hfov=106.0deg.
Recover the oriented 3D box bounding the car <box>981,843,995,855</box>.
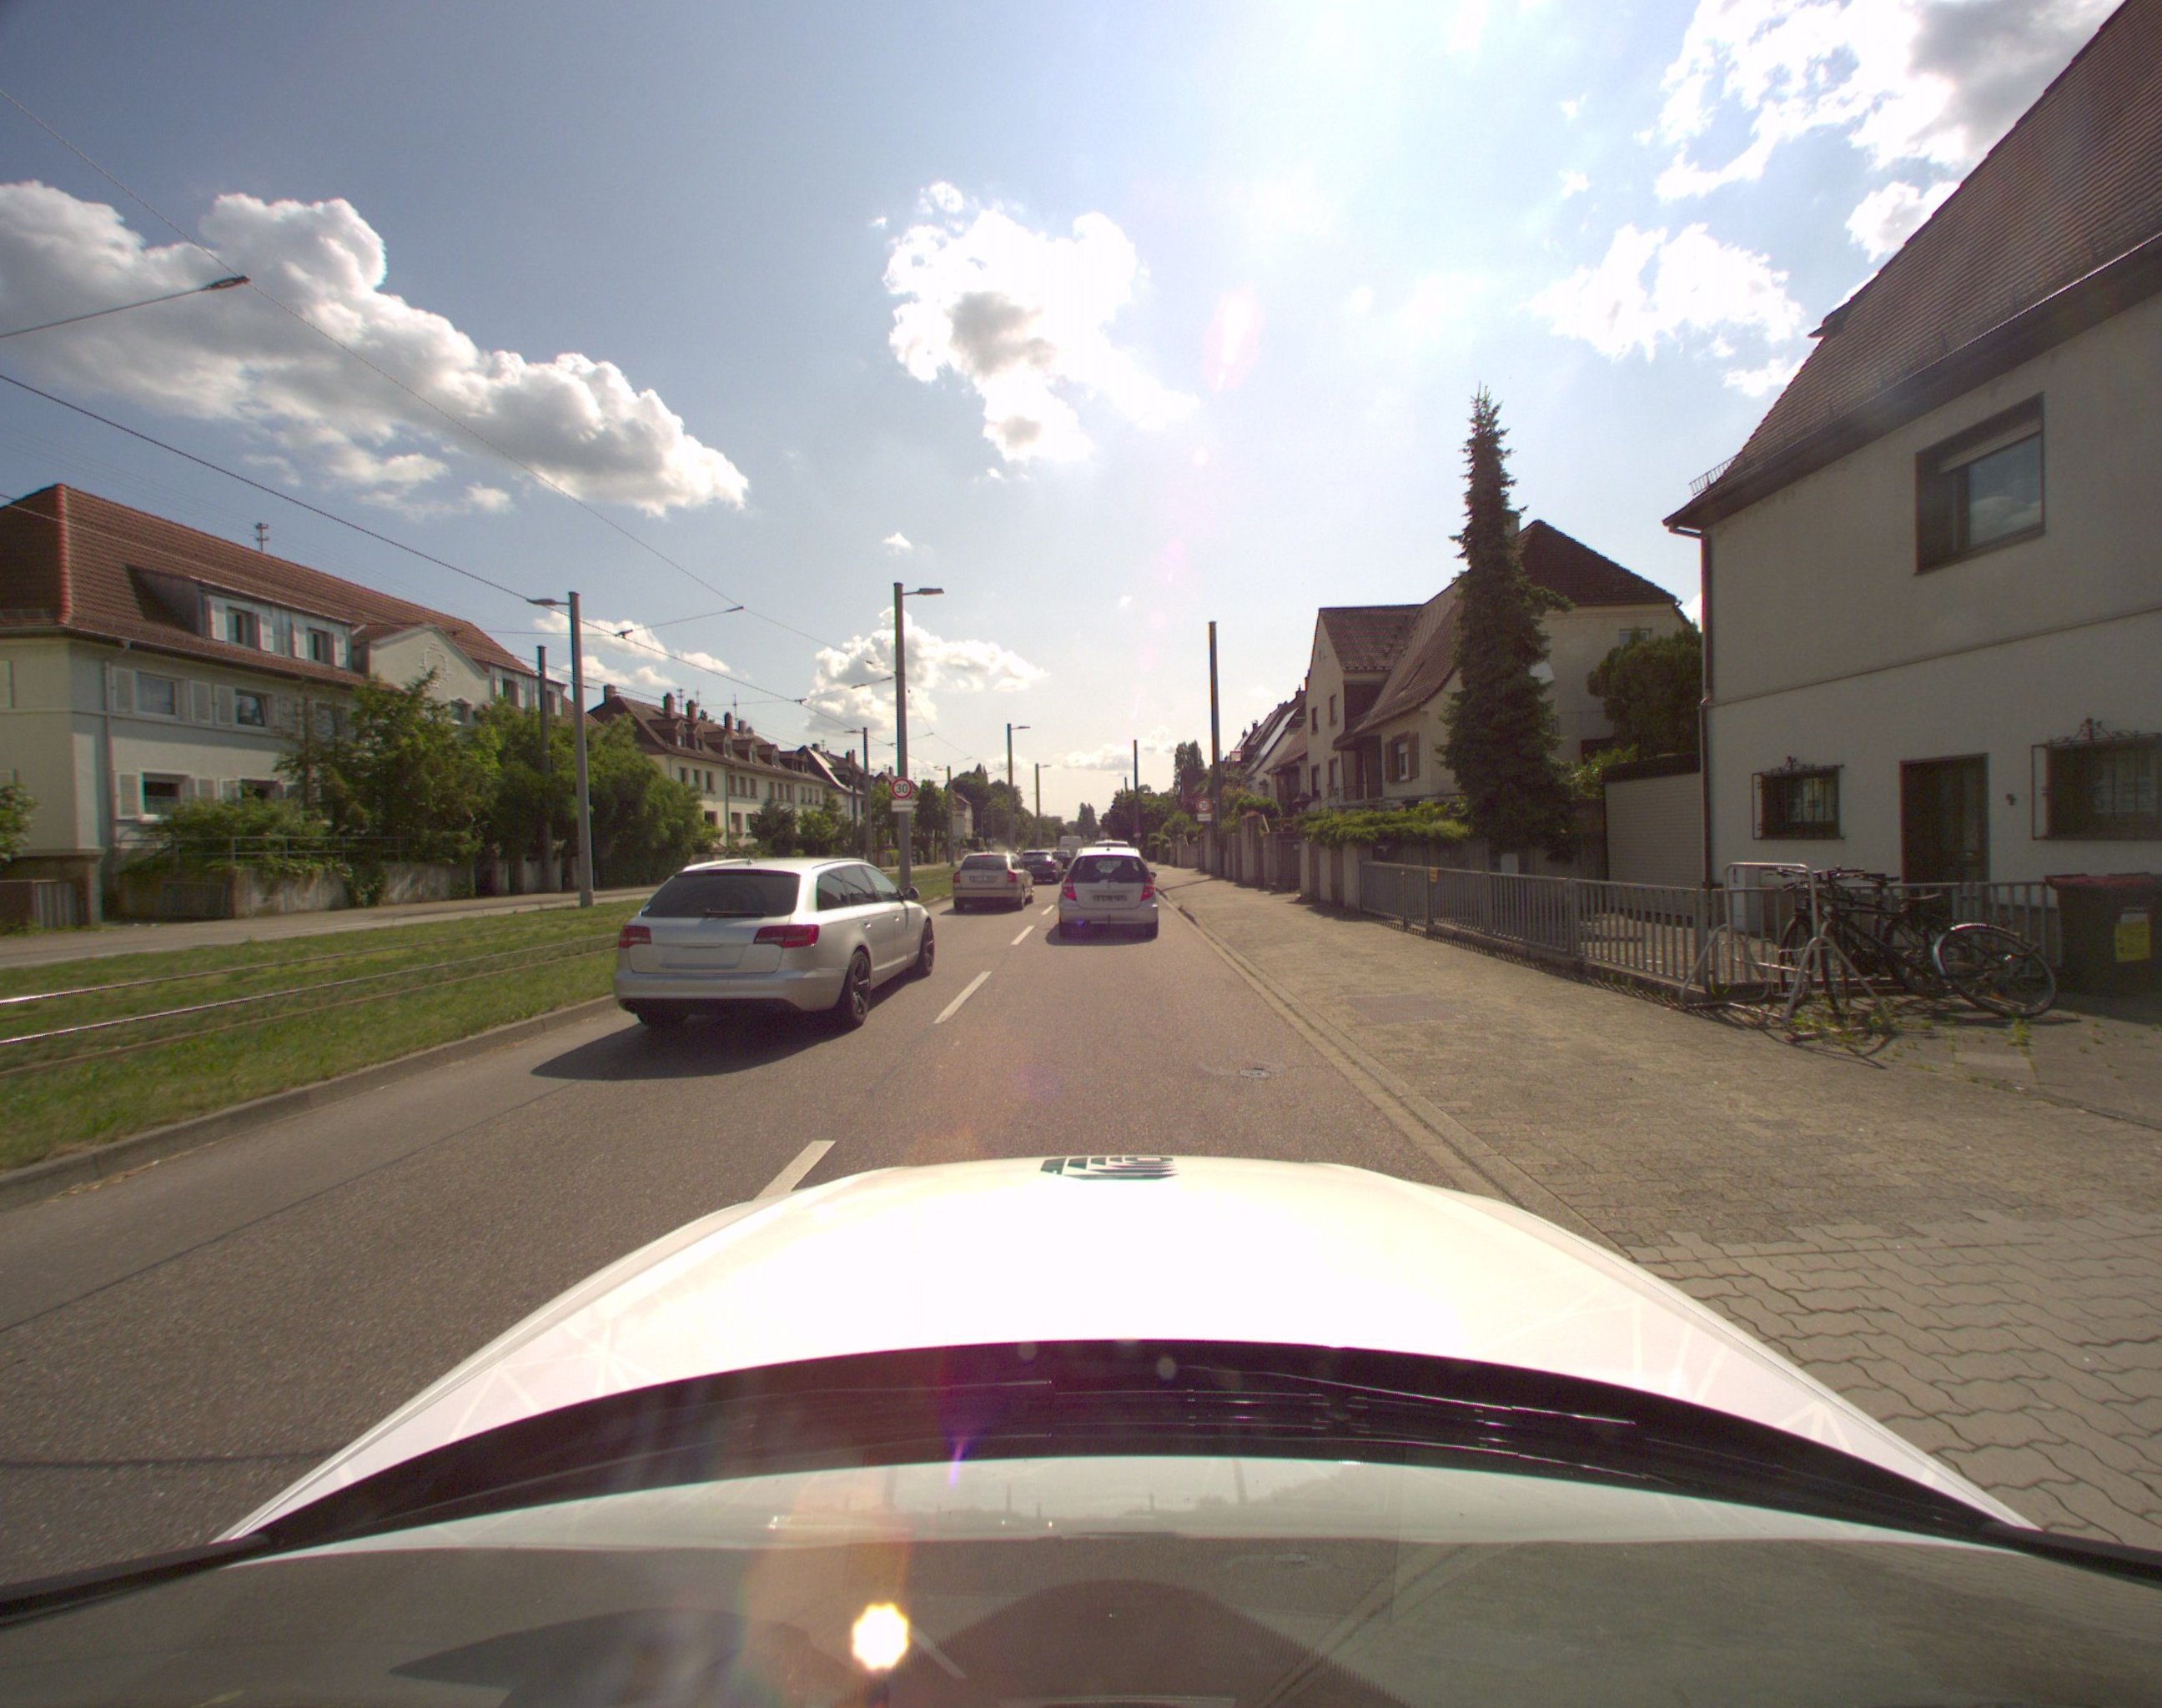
[{"bbox_3d":[-18.598,-0.978,163.090,1.908,2.330,4.566,0,0,3],"label":"car"}]

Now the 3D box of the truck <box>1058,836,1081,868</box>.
[{"bbox_3d":[-0.887,-0.172,67.835,1.846,2.552,5.854,0,0,0],"label":"truck"}]

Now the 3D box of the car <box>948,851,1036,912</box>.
[{"bbox_3d":[-2.240,0.642,21.455,1.724,1.449,4.125,0,0,2],"label":"car"}]

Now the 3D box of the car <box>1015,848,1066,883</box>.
[{"bbox_3d":[-1.744,0.466,36.420,1.909,1.477,4.564,0,0,2],"label":"car"}]

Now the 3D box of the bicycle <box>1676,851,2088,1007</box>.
[{"bbox_3d":[6.605,0.594,6.804,2.716,1.119,0.691,-2,0,0],"label":"bicycle"}]

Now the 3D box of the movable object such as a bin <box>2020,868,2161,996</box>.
[{"bbox_3d":[8.029,0.597,6.473,0.466,0.946,0.558,-1,0,1],"label":"movable object such as a bin"}]

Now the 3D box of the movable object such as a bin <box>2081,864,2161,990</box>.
[{"bbox_3d":[8.517,0.564,6.459,0.466,0.946,0.558,-2,0,1],"label":"movable object such as a bin"}]

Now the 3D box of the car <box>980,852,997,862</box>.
[{"bbox_3d":[-14.608,0.436,129.090,1.908,1.477,4.566,0,0,3],"label":"car"}]

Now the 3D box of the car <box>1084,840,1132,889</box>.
[{"bbox_3d":[1.094,0.376,31.648,1.722,1.762,4.020,0,0,3],"label":"car"}]

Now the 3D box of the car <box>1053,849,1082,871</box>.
[{"bbox_3d":[-0.862,0.388,54.252,1.846,1.388,4.513,0,0,0],"label":"car"}]

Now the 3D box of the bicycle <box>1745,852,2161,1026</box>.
[{"bbox_3d":[6.602,0.590,6.053,2.652,1.105,0.786,-2,0,0],"label":"bicycle"}]

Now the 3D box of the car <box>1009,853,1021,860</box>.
[{"bbox_3d":[-13.281,0.523,164.035,1.908,1.477,4.566,0,0,3],"label":"car"}]

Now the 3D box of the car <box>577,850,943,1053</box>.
[{"bbox_3d":[-2.767,0.710,8.358,1.788,1.472,4.723,-1,0,1],"label":"car"}]

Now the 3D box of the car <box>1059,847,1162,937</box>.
[{"bbox_3d":[0.494,0.633,15.720,1.724,1.517,4.016,0,0,0],"label":"car"}]
